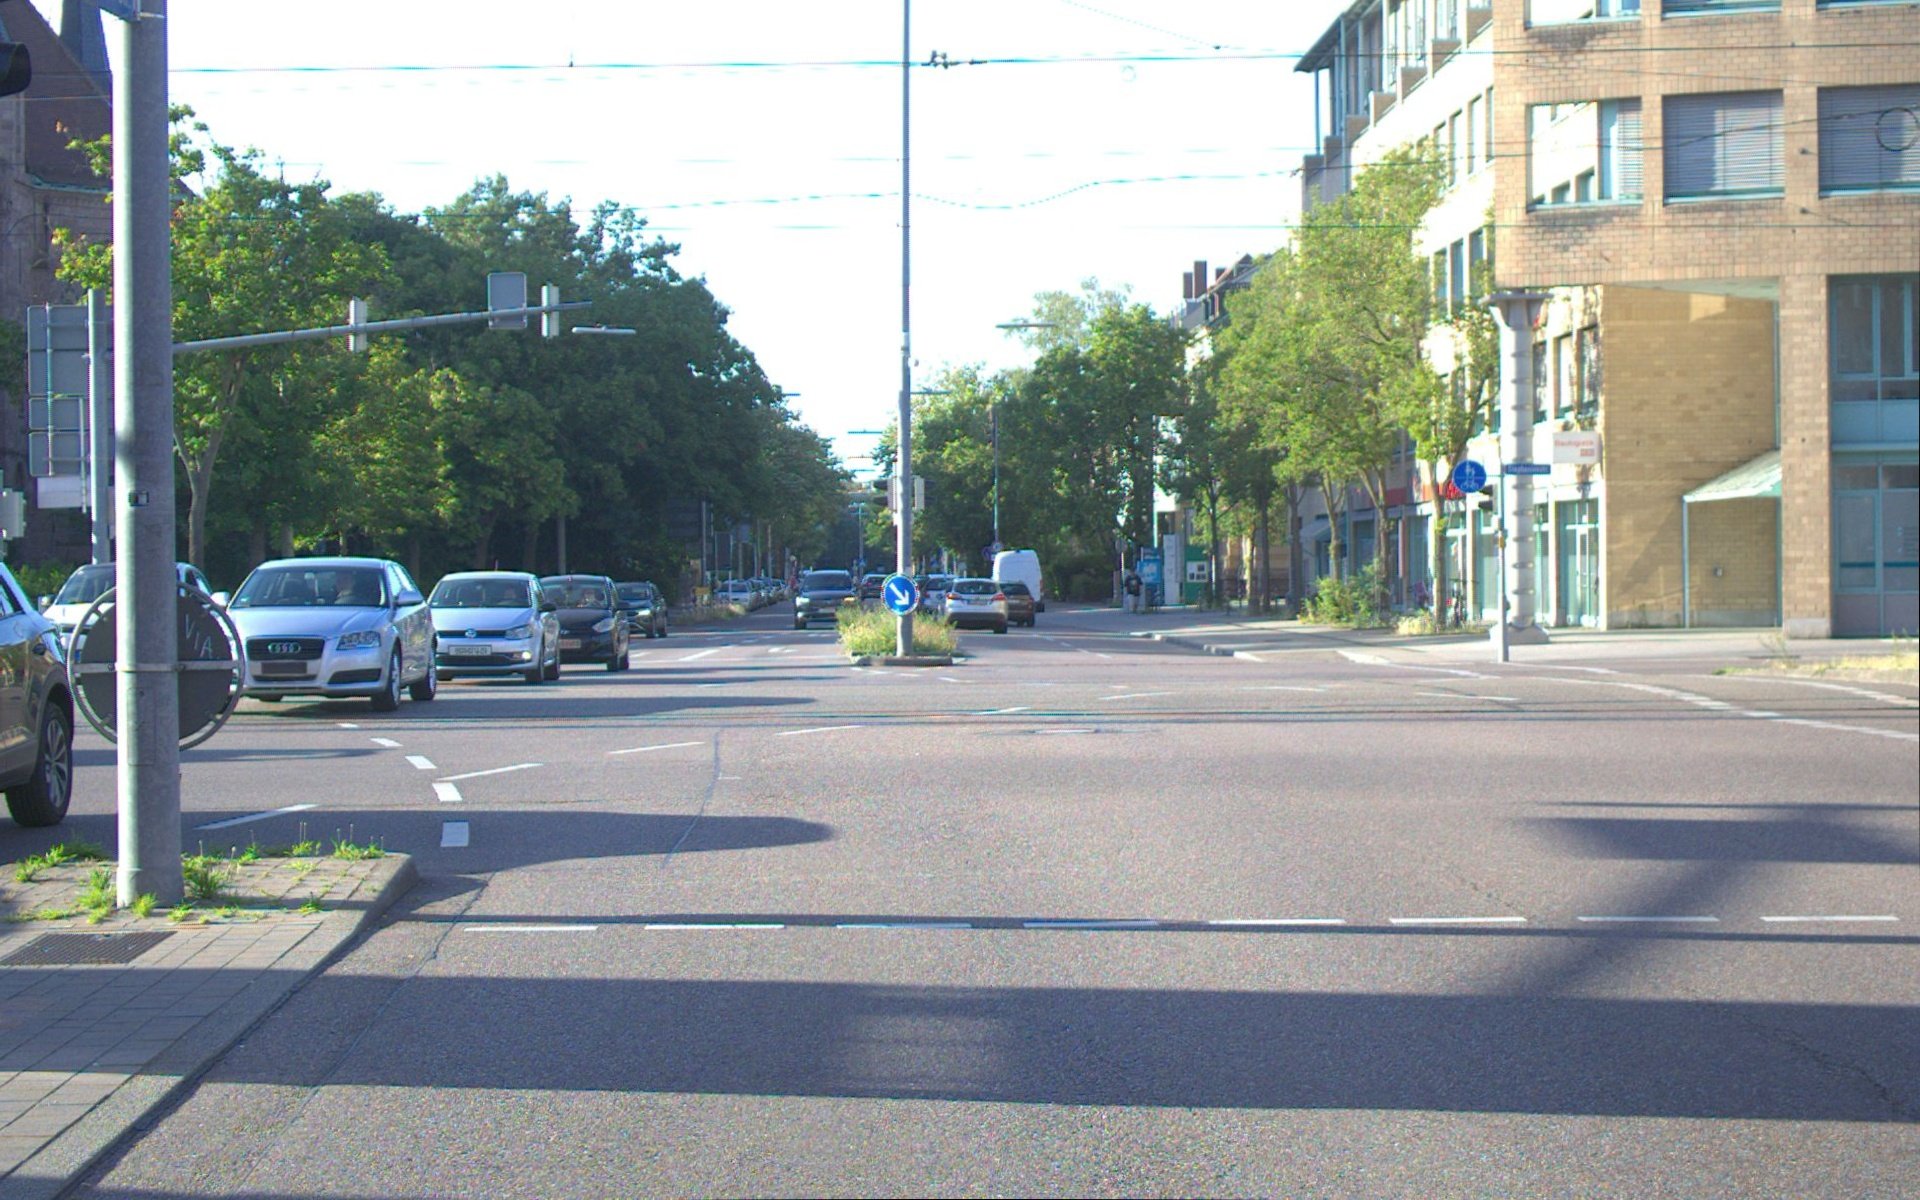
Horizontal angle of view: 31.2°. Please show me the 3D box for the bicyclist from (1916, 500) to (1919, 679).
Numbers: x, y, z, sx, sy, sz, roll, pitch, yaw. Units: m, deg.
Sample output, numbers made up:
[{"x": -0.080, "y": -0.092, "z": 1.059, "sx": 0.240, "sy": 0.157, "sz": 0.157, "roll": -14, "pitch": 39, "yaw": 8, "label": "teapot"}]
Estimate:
[{"x": 7.631, "y": -0.070, "z": 25.850, "sx": 0.592, "sy": 1.364, "sz": 0.930, "roll": 1, "pitch": 1, "yaw": -1, "label": "bicyclist"}]

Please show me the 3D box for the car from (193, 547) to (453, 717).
[{"x": -5.935, "y": 0.255, "z": 32.448, "sx": 1.708, "sy": 1.420, "sz": 4.103, "roll": -2, "pitch": 1, "yaw": -1, "label": "car"}]

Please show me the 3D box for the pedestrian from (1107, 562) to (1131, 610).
[{"x": 6.037, "y": -0.547, "z": 130.683, "sx": 0.847, "sy": 1.797, "sz": 0.776, "roll": 0, "pitch": 1, "yaw": -1, "label": "pedestrian"}]

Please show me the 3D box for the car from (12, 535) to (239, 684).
[{"x": -9.358, "y": 0.064, "z": 38.815, "sx": 1.675, "sy": 1.539, "sz": 3.638, "roll": -2, "pitch": 1, "yaw": -1, "label": "car"}]

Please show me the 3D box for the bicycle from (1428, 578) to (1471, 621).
[{"x": 11.454, "y": -0.012, "z": 80.500, "sx": 0.646, "sy": 0.991, "sz": 2.081, "roll": 0, "pitch": 0, "yaw": -1, "label": "bicycle"}]

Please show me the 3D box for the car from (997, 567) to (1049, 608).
[{"x": 2.023, "y": -0.407, "z": 111.005, "sx": 1.594, "sy": 1.263, "sz": 3.266, "roll": 0, "pitch": 1, "yaw": -1, "label": "car"}]

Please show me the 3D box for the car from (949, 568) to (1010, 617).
[{"x": 0.519, "y": -0.219, "z": 93.822, "sx": 1.594, "sy": 1.263, "sz": 3.266, "roll": 0, "pitch": 1, "yaw": -1, "label": "car"}]

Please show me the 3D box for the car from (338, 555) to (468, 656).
[{"x": -9.181, "y": 0.060, "z": 56.838, "sx": 1.578, "sy": 1.539, "sz": 3.477, "roll": -2, "pitch": 1, "yaw": -1, "label": "car"}]

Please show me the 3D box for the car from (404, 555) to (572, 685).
[{"x": -6.104, "y": 0.226, "z": 44.823, "sx": 1.675, "sy": 1.539, "sz": 3.806, "roll": -2, "pitch": 1, "yaw": -1, "label": "car"}]

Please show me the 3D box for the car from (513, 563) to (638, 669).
[{"x": -6.039, "y": 0.228, "z": 54.286, "sx": 1.578, "sy": 1.539, "sz": 3.477, "roll": -2, "pitch": 1, "yaw": -1, "label": "car"}]

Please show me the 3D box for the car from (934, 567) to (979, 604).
[{"x": -0.130, "y": -0.537, "z": 124.057, "sx": 1.594, "sy": 1.263, "sz": 3.266, "roll": 0, "pitch": 1, "yaw": -1, "label": "car"}]

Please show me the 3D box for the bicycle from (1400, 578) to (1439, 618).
[{"x": 11.356, "y": -0.057, "z": 85.036, "sx": 0.646, "sy": 0.991, "sz": 2.081, "roll": 0, "pitch": 0, "yaw": -1, "label": "bicycle"}]

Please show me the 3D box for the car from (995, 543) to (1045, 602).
[{"x": 2.509, "y": -1.159, "z": 144.798, "sx": 1.993, "sy": 2.432, "sz": 4.000, "roll": 1, "pitch": 0, "yaw": -1, "label": "car"}]

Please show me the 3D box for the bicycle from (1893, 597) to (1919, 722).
[{"x": 7.623, "y": 0.468, "z": 25.926, "sx": 0.592, "sy": 0.940, "sz": 1.978, "roll": 1, "pitch": 1, "yaw": -1, "label": "bicycle"}]

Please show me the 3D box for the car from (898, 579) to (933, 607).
[{"x": -2.073, "y": -0.337, "z": 160.695, "sx": 1.594, "sy": 1.263, "sz": 3.266, "roll": 0, "pitch": 1, "yaw": -1, "label": "car"}]

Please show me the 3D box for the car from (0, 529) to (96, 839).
[{"x": -5.629, "y": 0.450, "z": 16.939, "sx": 1.675, "sy": 1.539, "sz": 4.103, "roll": -2, "pitch": 1, "yaw": 0, "label": "car"}]

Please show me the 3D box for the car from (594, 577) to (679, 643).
[{"x": -8.784, "y": 0.281, "z": 93.635, "sx": 1.993, "sy": 1.718, "sz": 4.593, "roll": -1, "pitch": 0, "yaw": -1, "label": "car"}]

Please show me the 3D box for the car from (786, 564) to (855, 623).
[{"x": -4.171, "y": -0.172, "z": 103.585, "sx": 1.993, "sy": 1.718, "sz": 5.031, "roll": -1, "pitch": 0, "yaw": -1, "label": "car"}]

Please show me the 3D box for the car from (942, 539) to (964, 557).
[{"x": -0.499, "y": -3.874, "z": 255.648, "sx": 1.594, "sy": 1.263, "sz": 3.266, "roll": 0, "pitch": 1, "yaw": -1, "label": "car"}]
